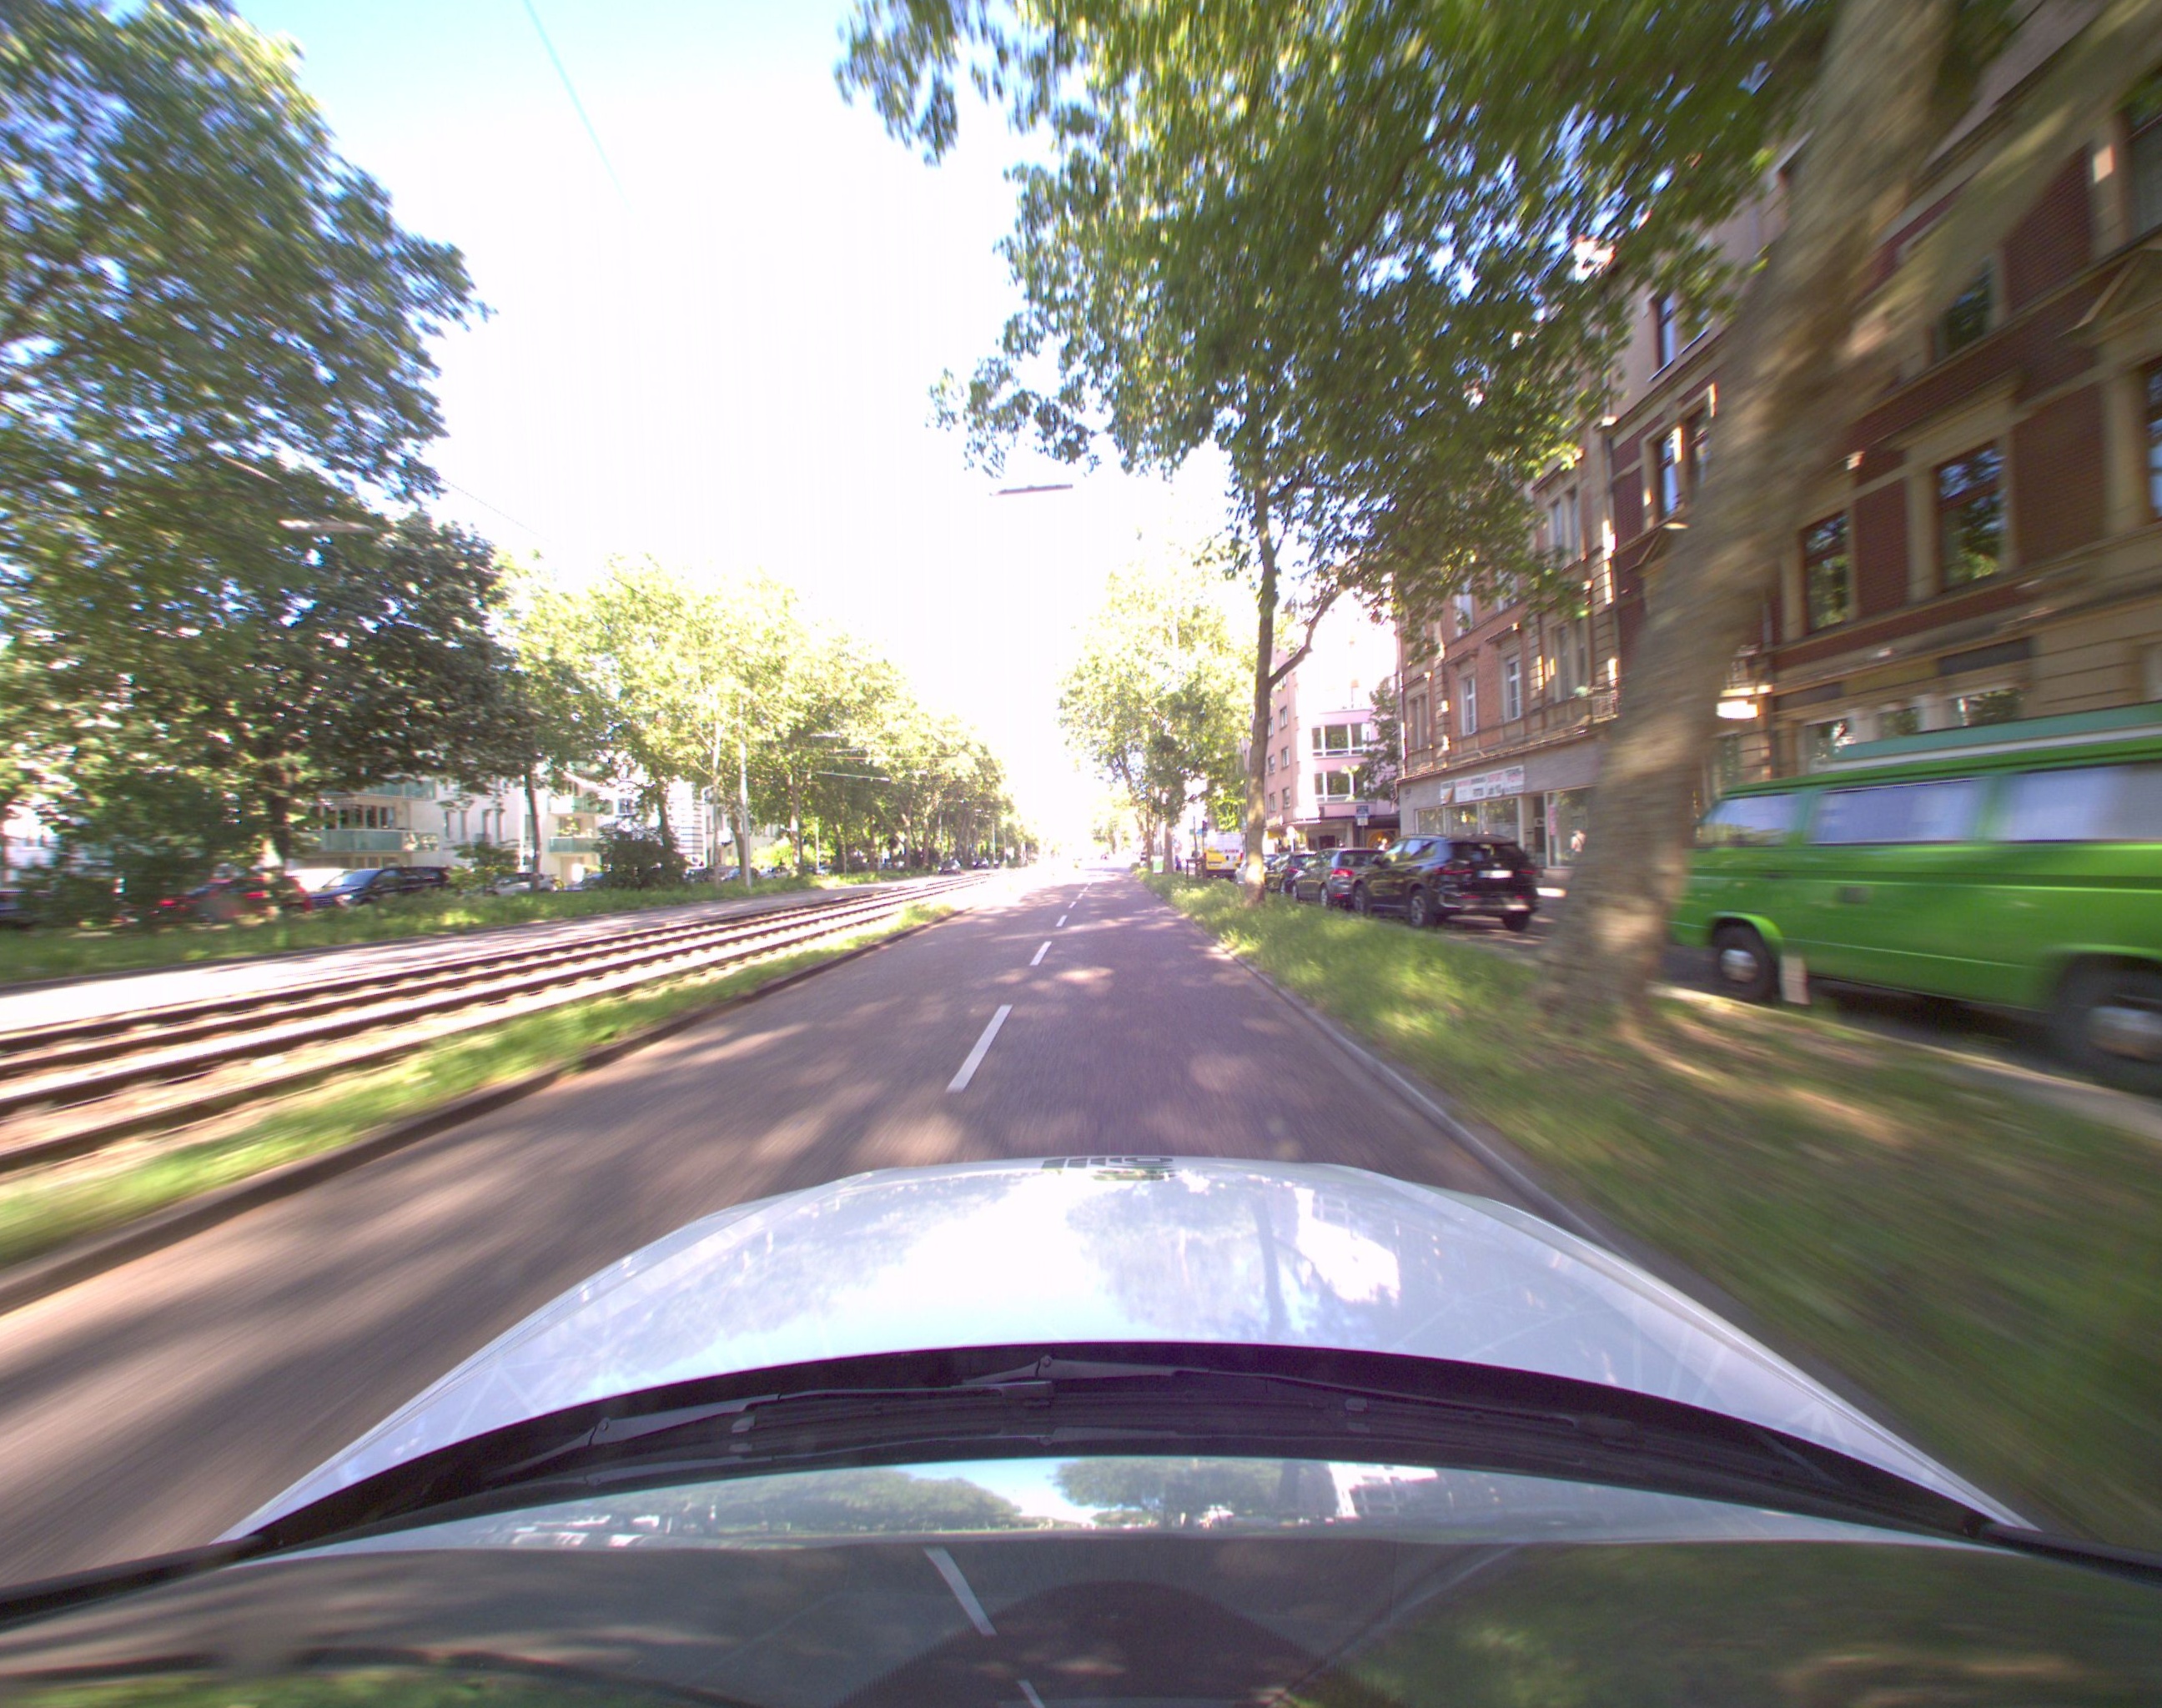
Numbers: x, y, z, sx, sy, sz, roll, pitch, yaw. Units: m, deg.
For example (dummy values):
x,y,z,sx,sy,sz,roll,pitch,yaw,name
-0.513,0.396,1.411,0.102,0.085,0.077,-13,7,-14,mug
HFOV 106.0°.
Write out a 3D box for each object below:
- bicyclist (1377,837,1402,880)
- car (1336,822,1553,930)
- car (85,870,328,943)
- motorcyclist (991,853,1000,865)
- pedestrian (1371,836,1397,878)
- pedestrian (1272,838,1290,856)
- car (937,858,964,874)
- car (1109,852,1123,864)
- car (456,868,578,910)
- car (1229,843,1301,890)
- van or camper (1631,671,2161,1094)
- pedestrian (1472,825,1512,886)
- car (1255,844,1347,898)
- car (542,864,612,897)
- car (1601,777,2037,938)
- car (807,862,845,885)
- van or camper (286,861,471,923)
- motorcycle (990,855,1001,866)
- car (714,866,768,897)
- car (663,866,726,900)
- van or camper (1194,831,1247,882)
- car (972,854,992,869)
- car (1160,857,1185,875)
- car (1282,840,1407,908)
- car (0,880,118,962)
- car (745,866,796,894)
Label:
x,y,z,sx,sy,sz,roll,pitch,yaw,name
11.834,0.161,31.233,0.656,1.615,0.699,-2,-1,2,bicyclist
6.414,0.350,15.072,1.884,1.647,4.799,1,0,0,car
-25.939,1.471,24.486,2.102,1.809,4.738,-2,0,0,car
-10.930,0.631,104.083,0.940,1.513,0.959,-2,0,2,motorcyclist
12.941,0.118,34.808,0.689,1.755,1.080,-2,0,2,pedestrian
14.385,-0.485,58.560,1.138,1.256,0.749,-2,0,2,pedestrian
-13.571,1.227,84.787,1.788,1.508,4.341,-5,0,2,car
5.458,0.632,126.915,2.014,1.662,4.001,-2,0,1,car
-25.741,1.542,37.452,2.022,1.598,5.085,-4,-1,-2,car
6.679,0.437,29.950,1.747,1.572,4.185,1,0,1,car
6.273,0.158,5.552,1.828,2.098,4.773,1,0,0,van or camper
12.409,0.040,24.624,0.689,1.788,0.958,-2,-1,2,pedestrian
6.629,0.483,25.006,1.747,1.496,4.185,1,0,1,car
-33.868,1.720,54.834,1.985,2.013,4.003,-2,0,2,car
8.716,0.041,10.228,1.747,1.579,4.185,1,0,1,car
-24.614,1.828,78.698,1.986,2.013,4.686,-2,0,2,car
-25.870,1.319,30.338,2.258,2.014,5.217,-2,0,1,van or camper
-10.916,0.819,104.233,0.960,1.212,3.353,-2,0,2,motorcycle
-24.981,1.981,60.037,1.985,2.013,4.106,-2,0,3,car
-25.267,1.837,53.378,1.986,2.013,4.095,-2,0,2,car
7.292,0.125,43.239,2.174,2.480,6.275,0,0,4,van or camper
-13.994,1.039,115.464,1.985,1.870,4.876,-4,0,3,car
7.959,0.992,70.829,1.678,1.514,3.666,-1,0,-1,car
6.380,0.452,20.262,1.731,1.464,4.365,1,0,0,car
-25.986,1.613,18.687,2.102,1.809,4.737,-2,0,0,car
-24.916,2.081,65.612,1.985,2.013,4.689,-2,0,4,car
